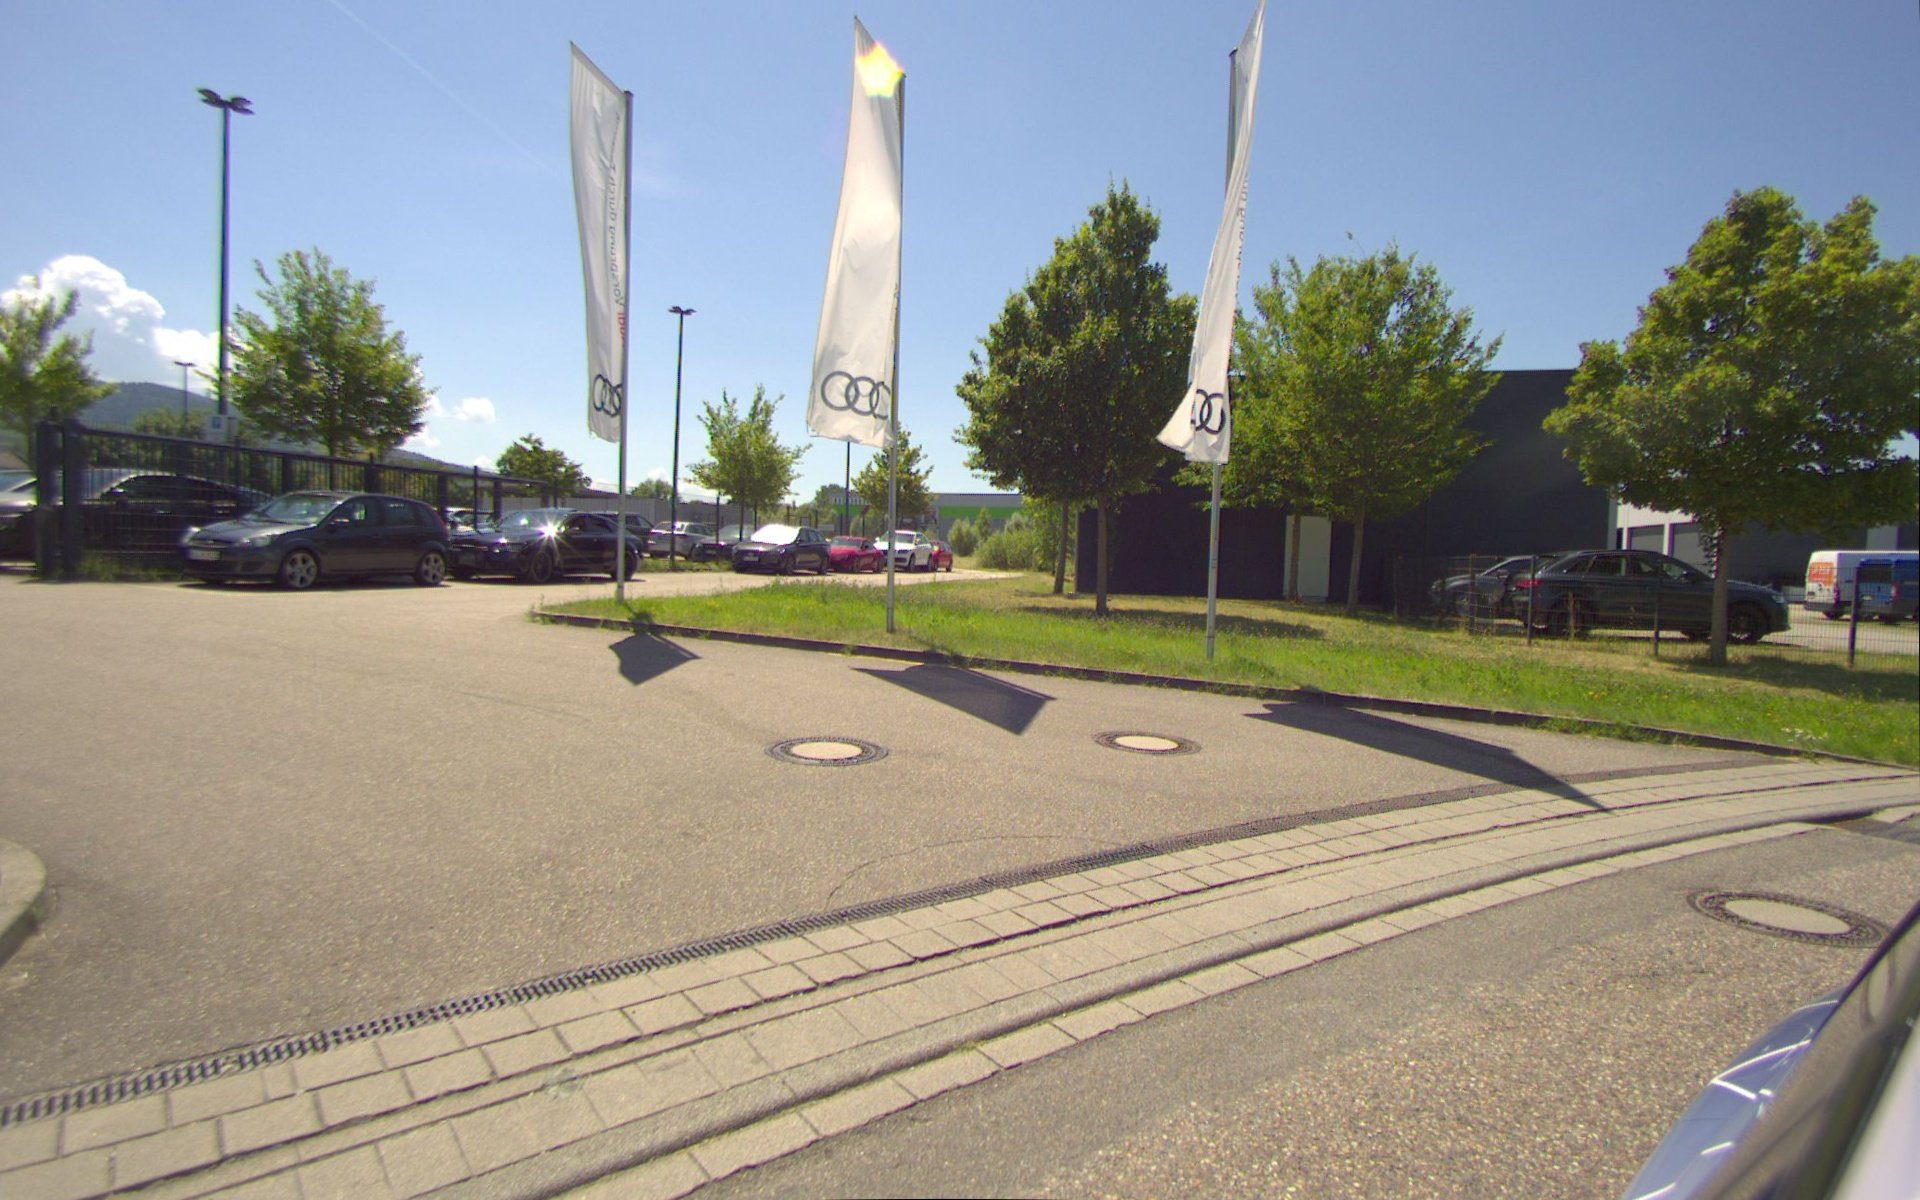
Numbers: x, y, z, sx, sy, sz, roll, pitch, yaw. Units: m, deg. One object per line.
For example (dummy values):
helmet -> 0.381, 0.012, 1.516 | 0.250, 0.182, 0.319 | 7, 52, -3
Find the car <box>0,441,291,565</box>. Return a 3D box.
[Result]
car -> -13.261, -1.468, 15.798 | 1.939, 1.649, 4.609 | 5, 4, 13

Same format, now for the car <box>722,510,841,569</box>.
car -> -5.337, -1.826, 30.917 | 1.756, 1.585, 4.385 | 5, 4, 16

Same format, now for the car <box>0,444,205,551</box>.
car -> -15.620, -1.719, 16.943 | 1.939, 1.649, 4.609 | 5, 4, 13

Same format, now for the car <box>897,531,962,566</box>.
car -> -1.357, -2.398, 47.345 | 1.801, 1.458, 4.093 | 5, 4, 16

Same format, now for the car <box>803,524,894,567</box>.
car -> -3.924, -1.958, 36.384 | 1.756, 1.373, 4.152 | 5, 4, 16

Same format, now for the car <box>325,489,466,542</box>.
car -> -18.806, -2.788, 33.950 | 2.079, 1.575, 3.990 | 3, 4, 10

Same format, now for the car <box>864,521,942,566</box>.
car -> -2.287, -2.318, 41.725 | 1.801, 1.666, 4.375 | 4, 4, 16

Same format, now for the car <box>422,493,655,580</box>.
car -> -8.126, -1.234, 20.024 | 1.756, 1.418, 4.551 | 5, 4, 16

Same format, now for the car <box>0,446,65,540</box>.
car -> -18.223, -1.927, 16.918 | 1.939, 1.649, 4.609 | 5, 4, 13

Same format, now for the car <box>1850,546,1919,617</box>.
car -> 33.183, -0.632, 33.039 | 5.748, 2.252, 2.136 | 0, 3, 15

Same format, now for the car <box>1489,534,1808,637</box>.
car -> 11.926, -0.306, 17.873 | 4.221, 1.621, 1.773 | 2, 3, 15

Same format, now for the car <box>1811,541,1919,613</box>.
car -> 33.929, -0.819, 35.658 | 5.595, 2.488, 2.187 | 0, 1, 14

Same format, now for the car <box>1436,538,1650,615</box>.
car -> 14.194, -0.616, 24.904 | 4.112, 1.585, 1.773 | 4, 4, 15

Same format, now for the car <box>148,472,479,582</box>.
car -> -9.591, -1.078, 15.438 | 1.756, 1.365, 4.126 | 5, 4, 16
